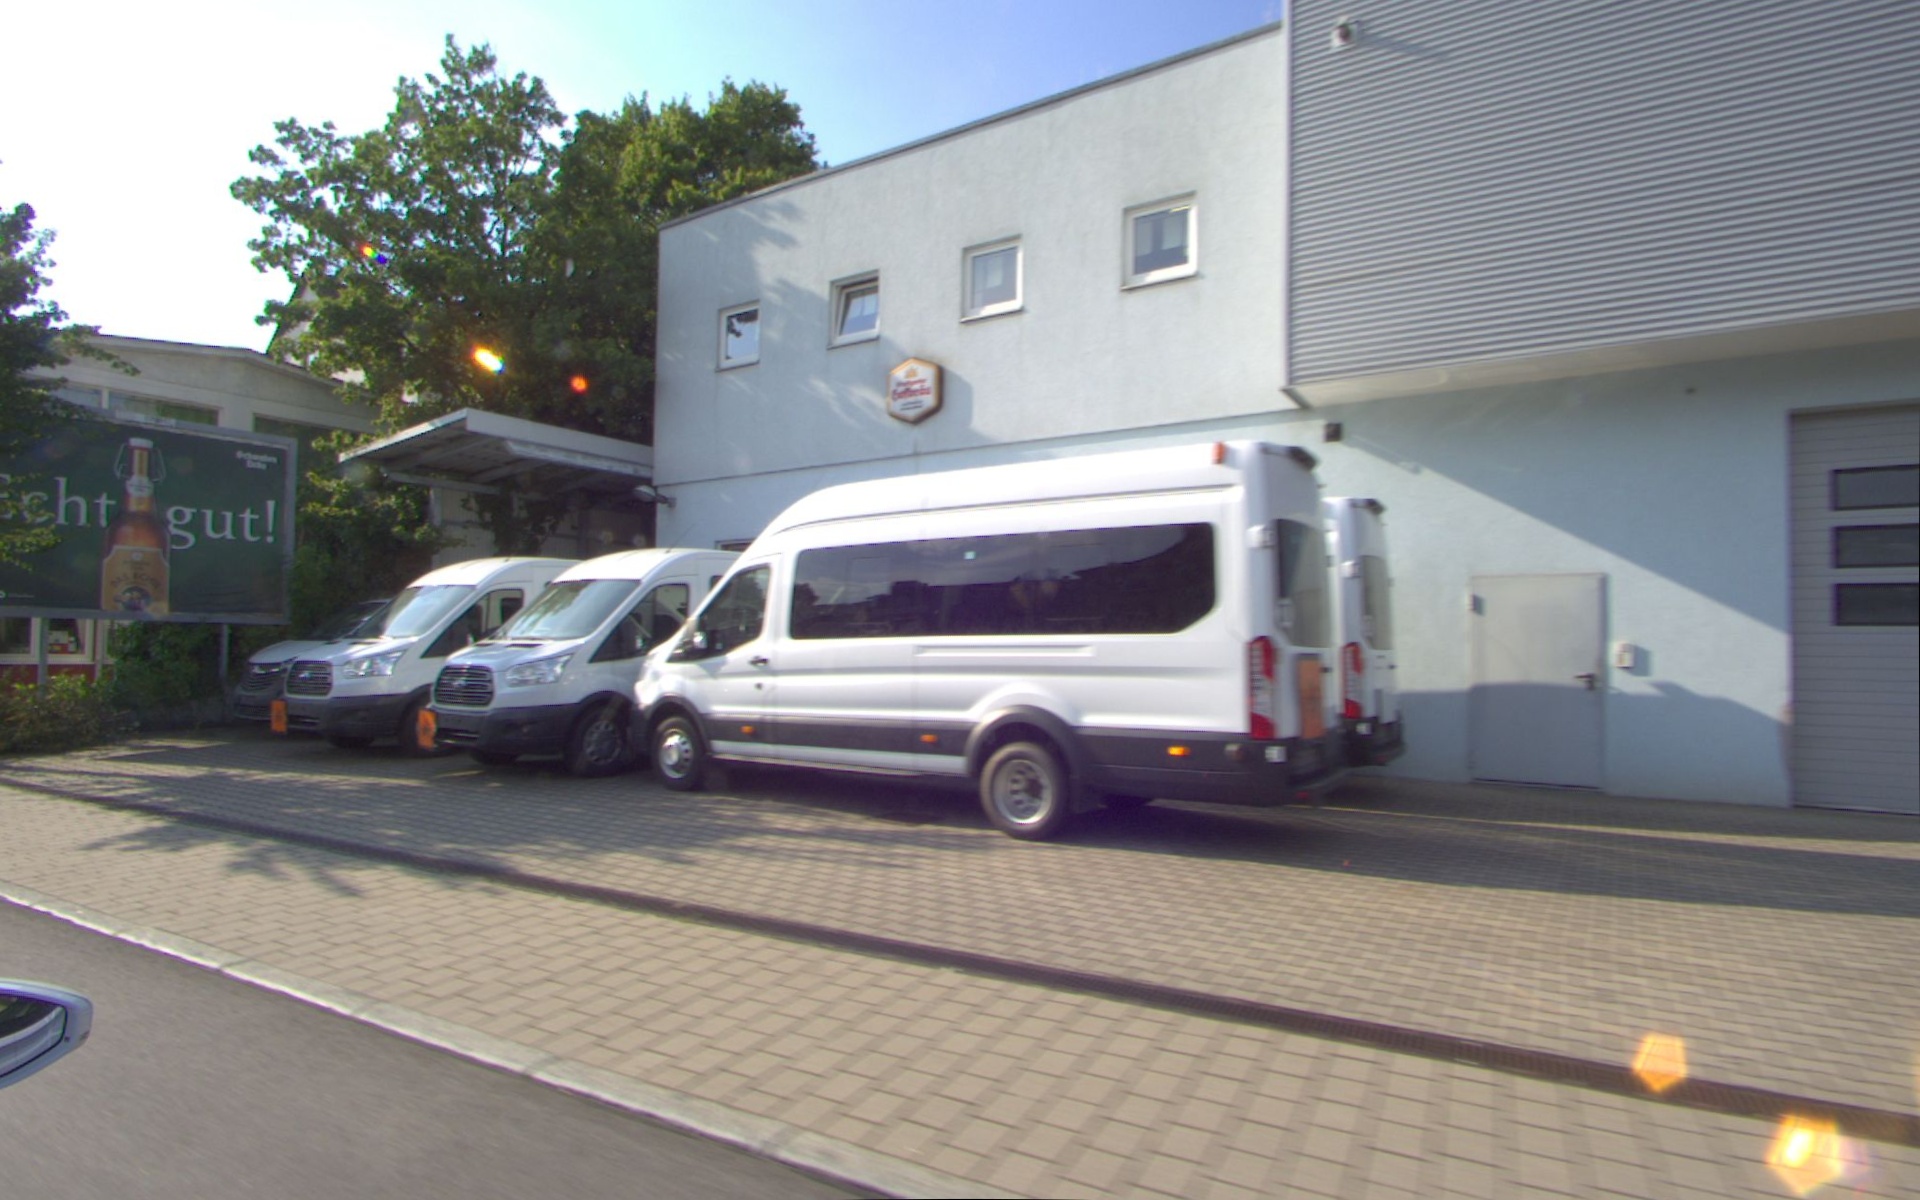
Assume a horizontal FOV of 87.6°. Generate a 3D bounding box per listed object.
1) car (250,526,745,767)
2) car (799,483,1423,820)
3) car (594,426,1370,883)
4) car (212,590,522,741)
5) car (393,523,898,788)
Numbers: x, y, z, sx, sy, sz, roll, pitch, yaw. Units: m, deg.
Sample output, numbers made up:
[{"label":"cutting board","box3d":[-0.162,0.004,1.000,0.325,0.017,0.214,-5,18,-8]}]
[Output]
[{"label":"car","box3d":[-5.811,0.610,13.681,2.014,2.548,6.036,0,-2,31]},{"label":"car","box3d":[1.383,0.487,10.790,6.350,2.756,2.108,-1,-2,32]},{"label":"car","box3d":[-0.128,0.390,8.614,6.508,2.715,2.146,-1,-2,32]},{"label":"car","box3d":[-8.500,0.906,14.665,1.563,1.918,3.596,0,-2,30]},{"label":"car","box3d":[-3.310,0.622,12.193,2.014,2.393,6.036,0,-2,31]}]
